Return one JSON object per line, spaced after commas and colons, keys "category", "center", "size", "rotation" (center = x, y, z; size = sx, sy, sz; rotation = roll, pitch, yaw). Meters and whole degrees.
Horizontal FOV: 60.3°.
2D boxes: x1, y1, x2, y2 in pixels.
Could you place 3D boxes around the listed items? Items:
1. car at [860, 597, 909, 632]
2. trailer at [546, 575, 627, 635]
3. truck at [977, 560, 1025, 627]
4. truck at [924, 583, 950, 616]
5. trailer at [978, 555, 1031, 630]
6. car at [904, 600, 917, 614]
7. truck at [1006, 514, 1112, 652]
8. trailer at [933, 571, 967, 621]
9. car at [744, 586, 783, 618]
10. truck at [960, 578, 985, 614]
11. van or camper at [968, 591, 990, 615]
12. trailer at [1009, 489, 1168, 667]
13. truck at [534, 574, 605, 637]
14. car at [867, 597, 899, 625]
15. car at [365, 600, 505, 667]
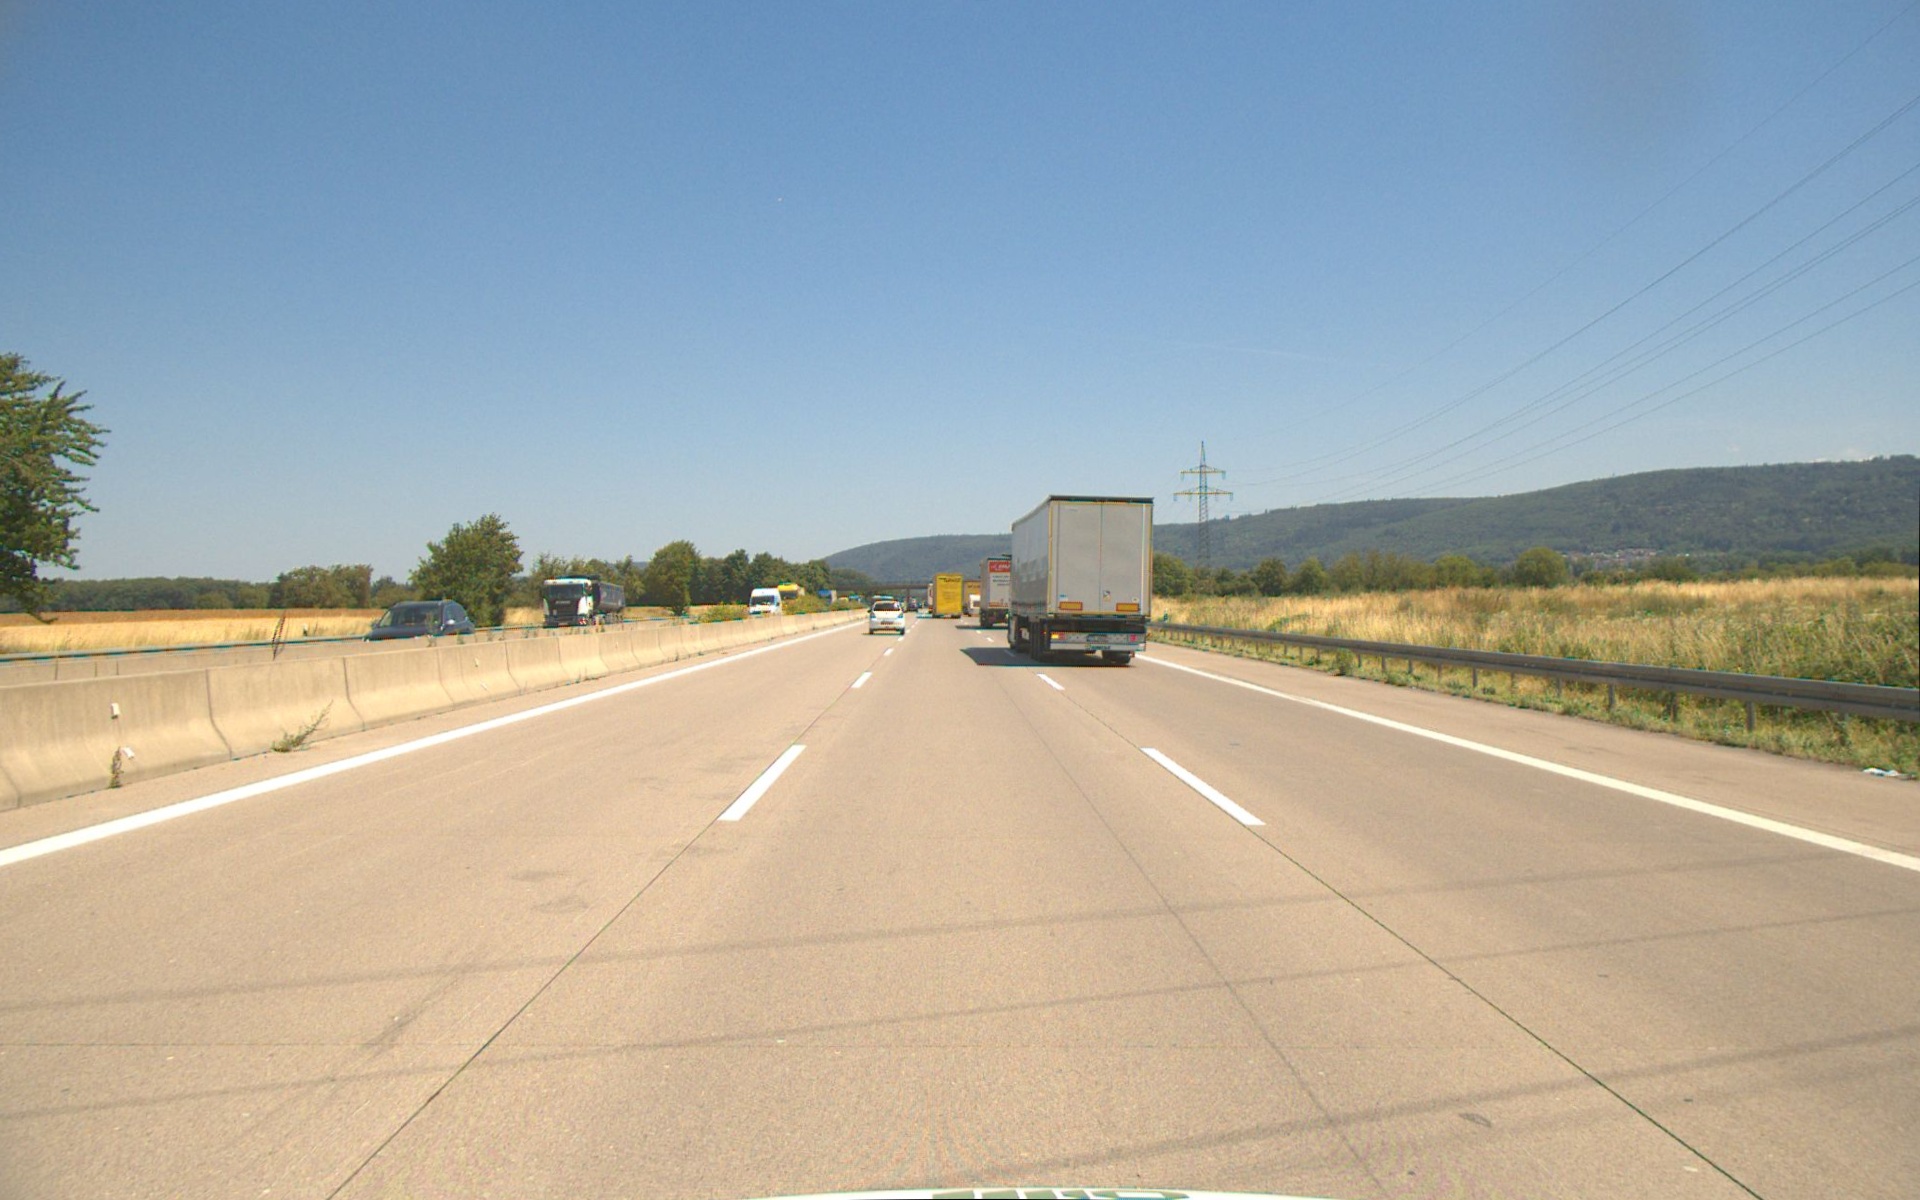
{"category": "car", "center": [-3.515, 0.679, 77.407], "size": [2.064, 1.563, 4.122], "rotation": [1, 0, 0]}
{"category": "trailer", "center": [-21.933, 0.293, 97.622], "size": [2.771, 3.362, 9.460], "rotation": [1, 0, -1]}
{"category": "truck", "center": [2.614, -0.409, 107.214], "size": [2.846, 4.172, 6.271], "rotation": [1, 0, 0]}
{"category": "truck", "center": [-3.046, -0.083, 220.852], "size": [3.285, 4.347, 8.227], "rotation": [1, 0, -1]}
{"category": "trailer", "center": [2.594, -0.417, 100.862], "size": [2.815, 4.172, 13.511], "rotation": [1, 0, 0]}
{"category": "car", "center": [-7.037, 0.999, 233.948], "size": [1.747, 1.914, 3.999], "rotation": [1, 0, -1]}
{"category": "truck", "center": [3.079, -0.511, 53.053], "size": [2.924, 4.133, 5.476], "rotation": [1, 0, -1]}
{"category": "trailer", "center": [-1.011, -0.404, 161.408], "size": [3.150, 4.643, 13.454], "rotation": [1, 0, -1]}
{"category": "car", "center": [-14.071, 0.156, 118.802], "size": [2.165, 2.227, 6.324], "rotation": [1, 0, -1]}
{"category": "truck", "center": [1.537, -0.518, 206.584], "size": [2.938, 4.390, 9.682], "rotation": [1, 0, -1]}
{"category": "van or camper", "center": [2.010, 0.310, 178.570], "size": [2.179, 2.575, 5.429], "rotation": [1, 0, -1]}
{"category": "trailer", "center": [3.239, -0.511, 46.083], "size": [2.957, 4.132, 14.202], "rotation": [1, 0, -1]}
{"category": "truck", "center": [-21.848, 0.289, 92.810], "size": [2.749, 3.362, 5.612], "rotation": [1, 0, -1]}
{"category": "car", "center": [-5.745, 0.789, 123.897], "size": [2.208, 2.049, 4.297], "rotation": [1, 0, 0]}
{"category": "car", "center": [-12.569, 0.763, 39.924], "size": [1.953, 1.473, 4.681], "rotation": [1, 0, -2]}
